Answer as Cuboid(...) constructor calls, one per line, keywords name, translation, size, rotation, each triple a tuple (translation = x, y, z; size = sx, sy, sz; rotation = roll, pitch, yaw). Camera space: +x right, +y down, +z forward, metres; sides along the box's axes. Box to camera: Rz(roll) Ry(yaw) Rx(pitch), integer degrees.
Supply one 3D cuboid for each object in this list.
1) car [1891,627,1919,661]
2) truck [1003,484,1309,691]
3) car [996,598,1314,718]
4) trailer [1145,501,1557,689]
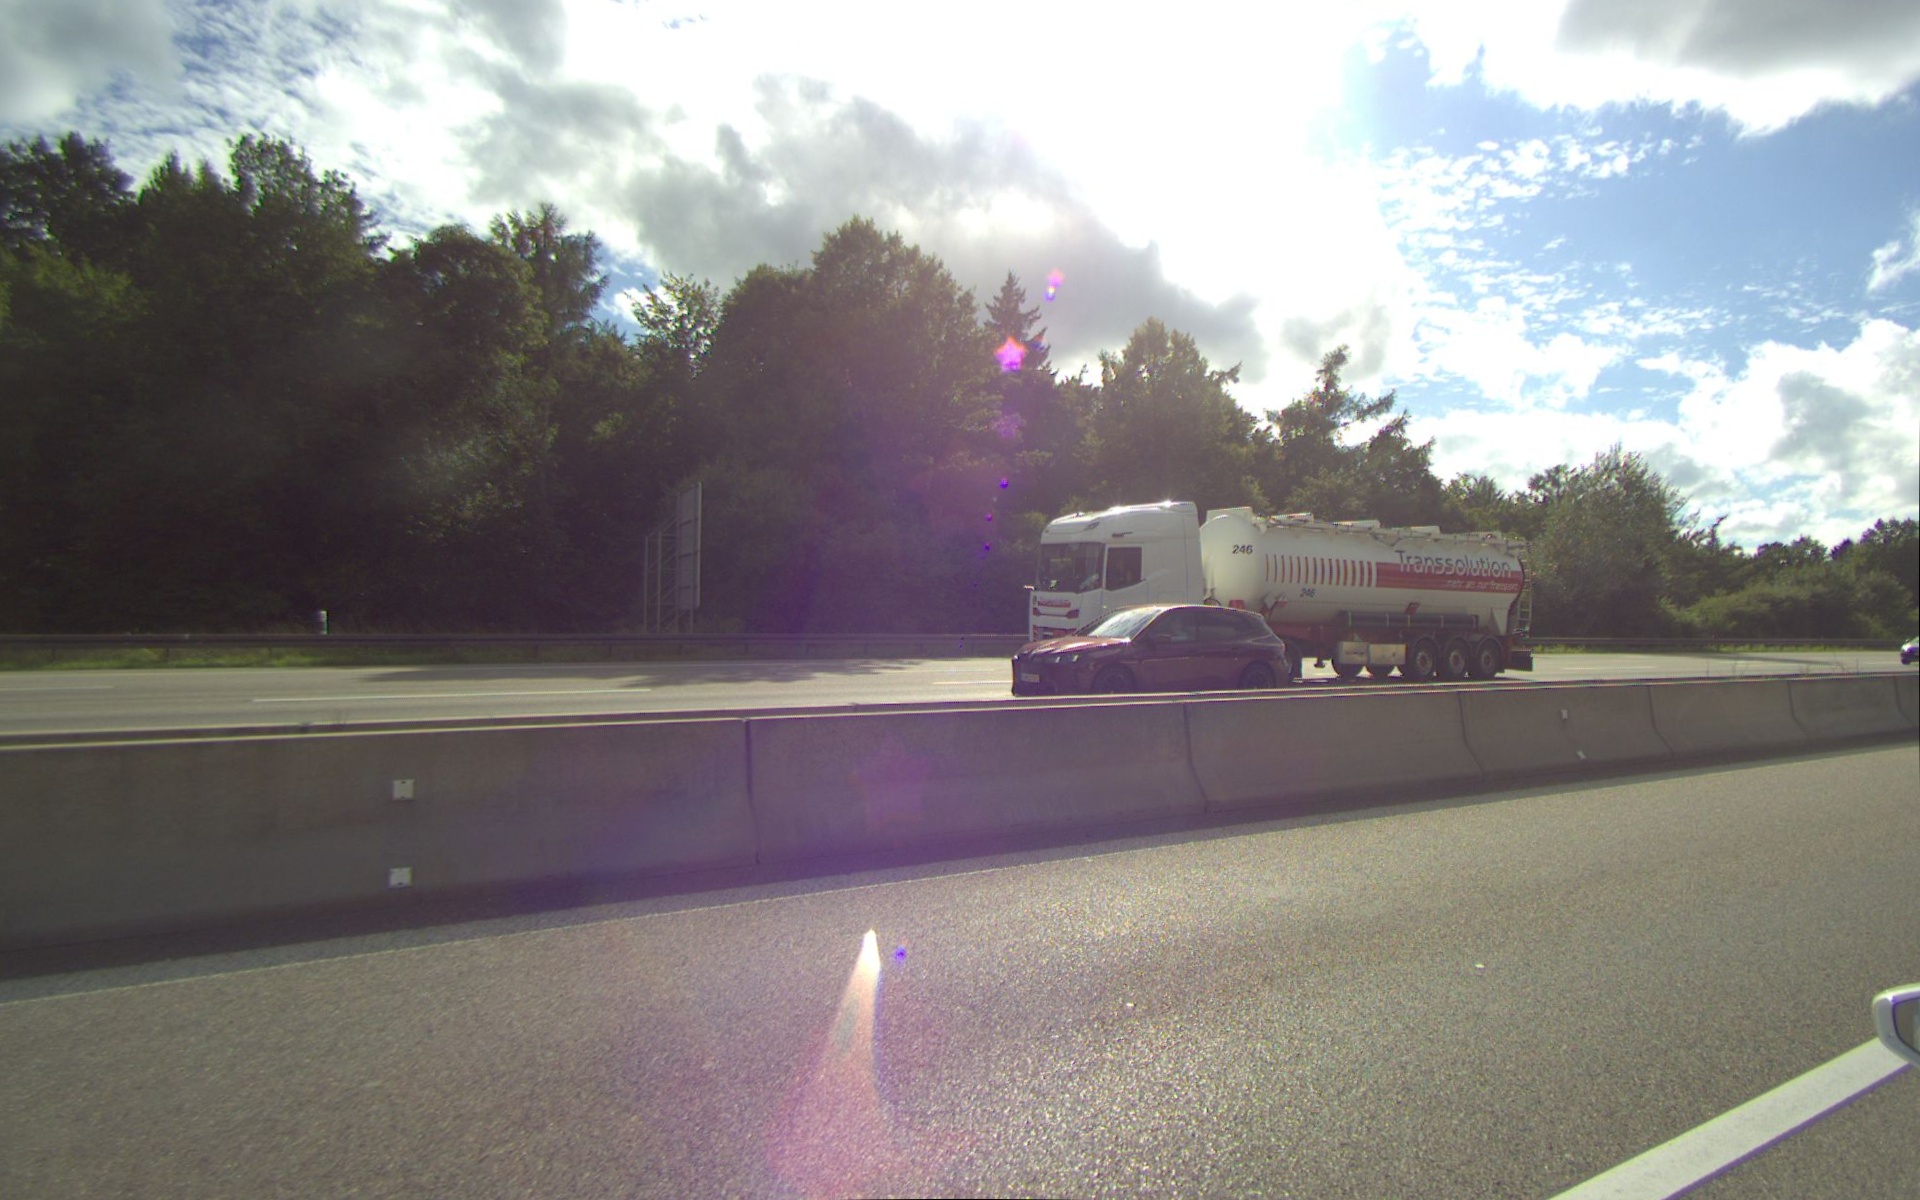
Cuboid(name="car", translation=(43.345, 1.947, 44.449), size=(4.618, 1.433, 1.819), rotation=(1, -1, -29))
Cuboid(name="truck", translation=(4.394, -0.170, 22.201), size=(6.368, 3.998, 2.775), rotation=(1, -1, -30))
Cuboid(name="car", translation=(3.245, 0.878, 16.296), size=(5.150, 1.692, 1.846), rotation=(1, -1, -31))
Cuboid(name="trailer", translation=(10.321, 0.027, 25.579), size=(12.106, 3.998, 2.775), rotation=(1, -1, -30))
